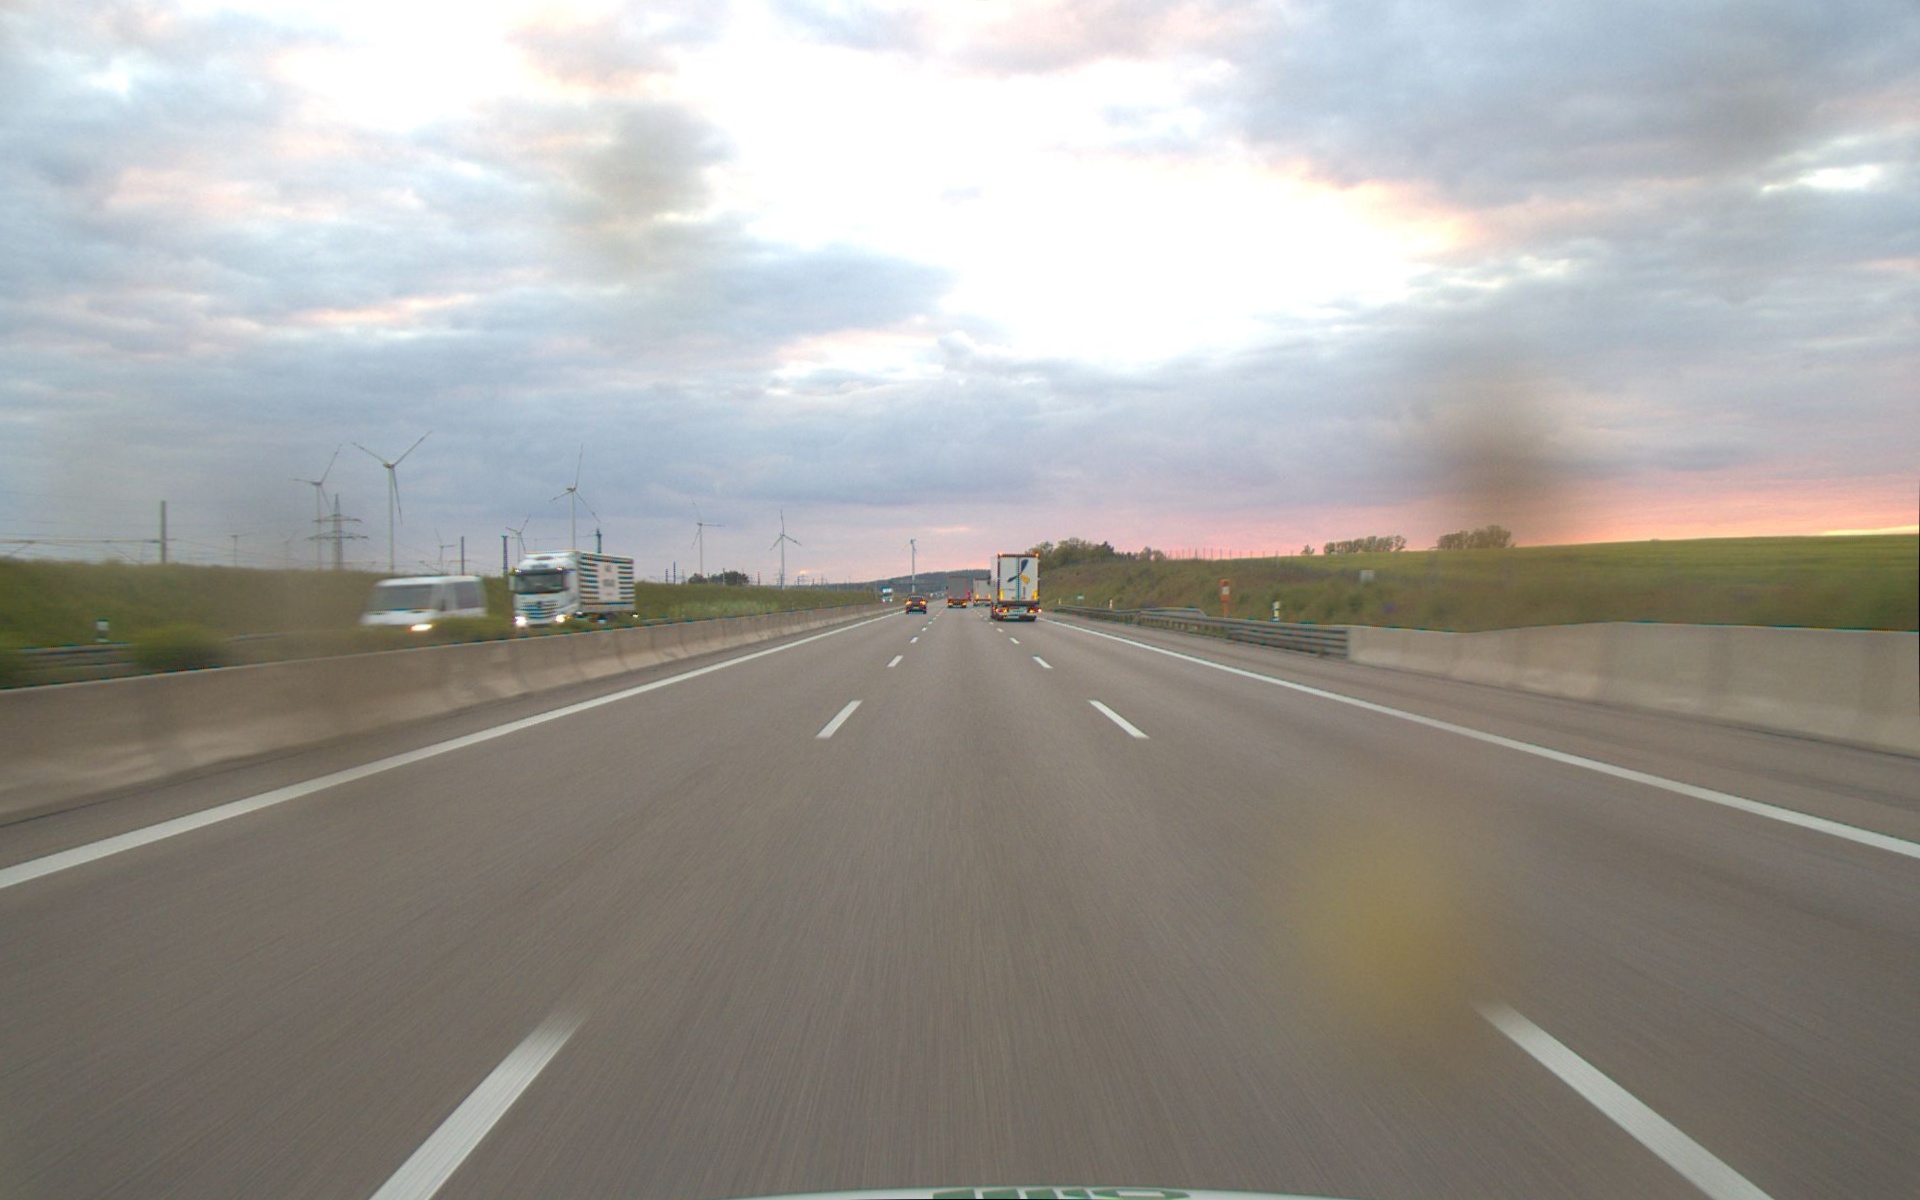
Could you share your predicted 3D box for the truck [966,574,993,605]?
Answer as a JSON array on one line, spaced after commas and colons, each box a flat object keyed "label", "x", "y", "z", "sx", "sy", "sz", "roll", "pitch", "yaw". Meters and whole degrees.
[{"label": "truck", "x": 2.926, "y": -1.598, "z": 250.841, "sx": 3.885, "sy": 4.491, "sz": 8.634, "roll": -1, "pitch": 0, "yaw": -1}]

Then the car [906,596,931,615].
[{"label": "car", "x": -3.514, "y": 0.446, "z": 139.494, "sx": 1.947, "sy": 1.454, "sz": 4.000, "roll": -1, "pitch": 1, "yaw": 0}]

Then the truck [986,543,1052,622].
[{"label": "truck", "x": 3.644, "y": -1.086, "z": 104.981, "sx": 3.600, "sy": 4.644, "sz": 10.980, "roll": -1, "pitch": 0, "yaw": 0}]

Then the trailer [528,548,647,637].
[{"label": "trailer", "x": -19.464, "y": -0.380, "z": 87.582, "sx": 2.631, "sy": 4.186, "sz": 15.109, "roll": -2, "pitch": 0, "yaw": 0}]

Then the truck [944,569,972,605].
[{"label": "truck", "x": -0.275, "y": -1.700, "z": 215.367, "sx": 3.573, "sy": 4.491, "sz": 8.635, "roll": -1, "pitch": 0, "yaw": 0}]

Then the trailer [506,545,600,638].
[{"label": "trailer", "x": -19.509, "y": -0.401, "z": 79.719, "sx": 2.631, "sy": 4.186, "sz": 6.938, "roll": -2, "pitch": 0, "yaw": 0}]

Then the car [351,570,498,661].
[{"label": "car", "x": -15.292, "y": 0.422, "z": 47.696, "sx": 2.084, "sy": 2.385, "sz": 6.492, "roll": -2, "pitch": 0, "yaw": 0}]
